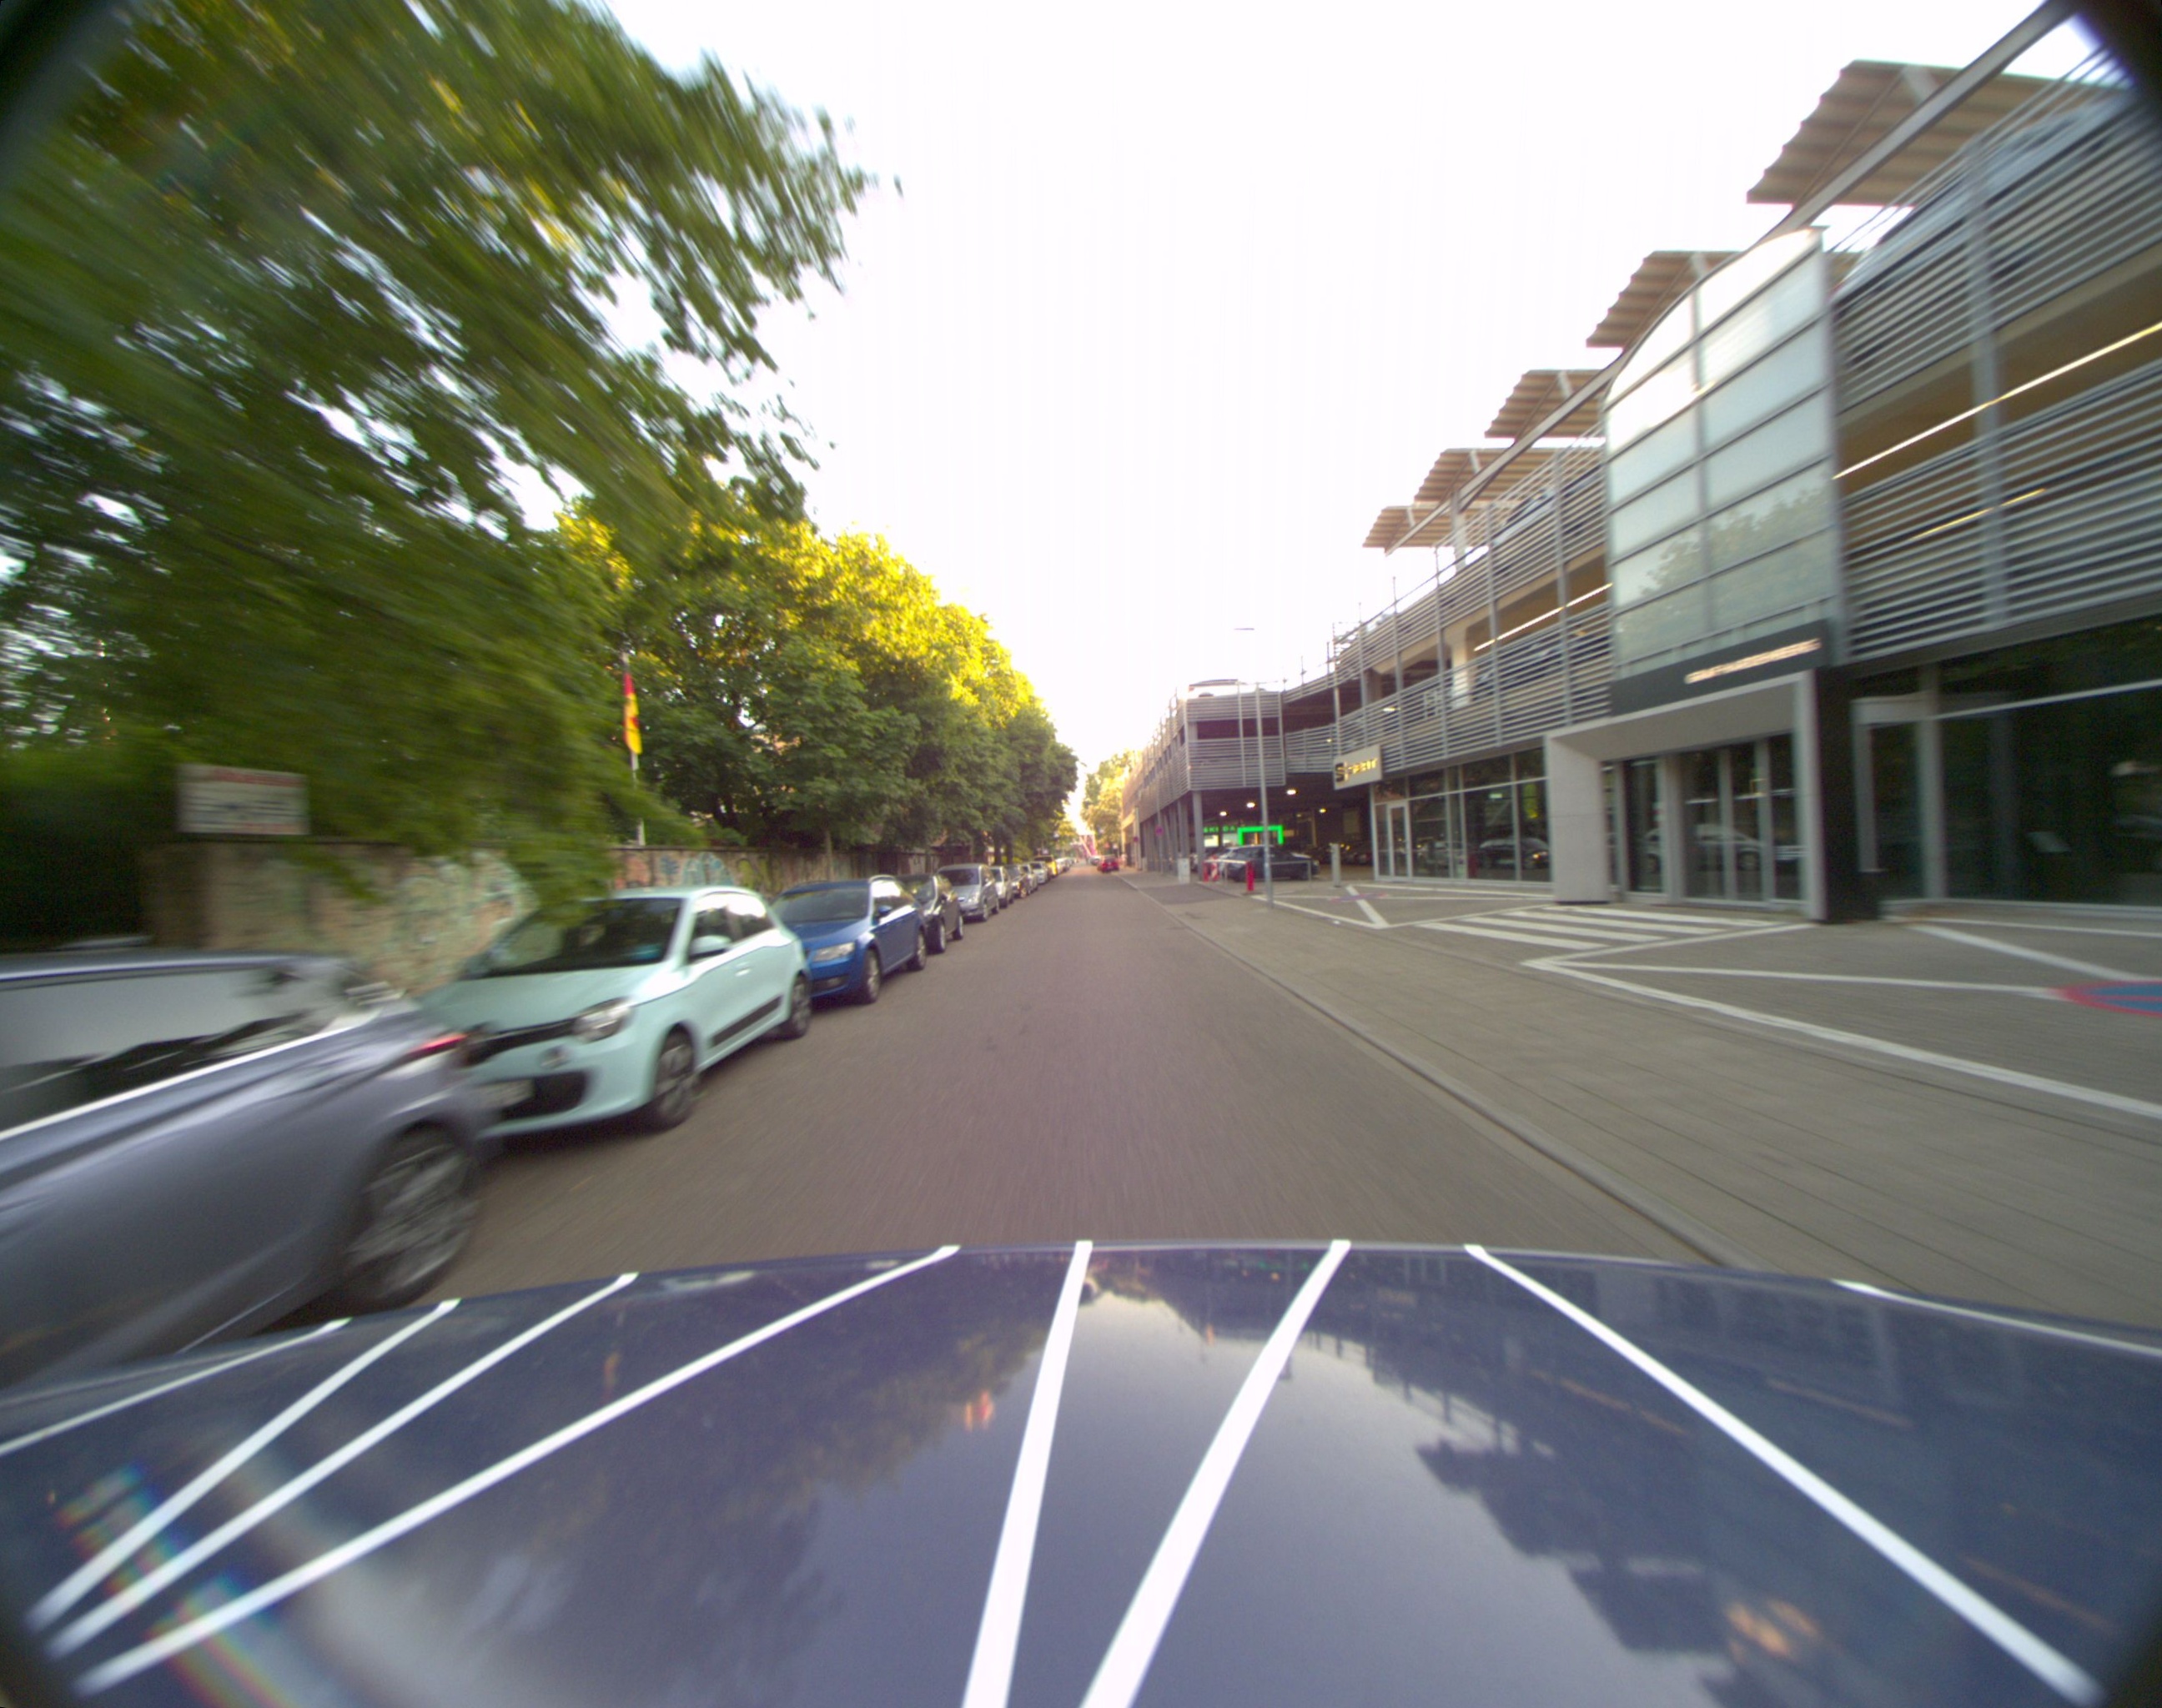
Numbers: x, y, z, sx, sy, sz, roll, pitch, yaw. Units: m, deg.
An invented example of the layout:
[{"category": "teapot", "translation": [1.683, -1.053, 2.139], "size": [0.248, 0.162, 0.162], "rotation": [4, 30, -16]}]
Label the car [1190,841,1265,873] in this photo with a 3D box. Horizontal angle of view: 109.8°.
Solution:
[{"category": "car", "translation": [8.702, 0.178, 45.367], "size": [4.113, 1.674, 1.860], "rotation": [-3, -1, 2]}]

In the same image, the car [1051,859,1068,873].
[{"category": "car", "translation": [-2.345, 1.329, 84.306], "size": [1.614, 1.452, 4.054], "rotation": [-3, -1, 0]}]

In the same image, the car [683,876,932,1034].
[{"category": "car", "translation": [-3.298, 1.125, 10.097], "size": [1.699, 1.468, 4.117], "rotation": [-3, 0, 0]}]

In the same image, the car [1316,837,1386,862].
[{"category": "car", "translation": [18.643, -0.310, 52.549], "size": [4.084, 1.446, 1.860], "rotation": [-3, -1, 2]}]

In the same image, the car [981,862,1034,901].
[{"category": "car", "translation": [-3.148, 1.128, 33.250], "size": [1.764, 1.446, 4.392], "rotation": [-3, 0, 0]}]

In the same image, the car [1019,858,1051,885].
[{"category": "car", "translation": [-2.884, 1.107, 48.389], "size": [1.726, 1.510, 4.026], "rotation": [-3, -1, 0]}]

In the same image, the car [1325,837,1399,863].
[{"category": "car", "translation": [18.640, -0.248, 50.552], "size": [4.216, 1.511, 1.860], "rotation": [-3, -1, 2]}]

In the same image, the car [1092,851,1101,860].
[{"category": "car", "translation": [3.803, 0.330, 187.230], "size": [1.964, 1.825, 3.884], "rotation": [-8, 0, -2]}]

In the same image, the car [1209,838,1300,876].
[{"category": "car", "translation": [8.732, 0.168, 38.510], "size": [4.097, 1.674, 1.860], "rotation": [-3, -1, 2]}]

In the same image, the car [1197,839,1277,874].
[{"category": "car", "translation": [8.773, 0.164, 42.971], "size": [4.074, 1.674, 1.860], "rotation": [-3, -1, 2]}]

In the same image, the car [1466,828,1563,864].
[{"category": "car", "translation": [23.633, -0.434, 41.550], "size": [4.158, 1.674, 1.860], "rotation": [-3, -1, 2]}]

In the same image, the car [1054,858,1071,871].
[{"category": "car", "translation": [-2.159, 1.244, 89.606], "size": [1.814, 1.408, 4.626], "rotation": [-3, -1, 0]}]

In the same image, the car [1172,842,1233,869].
[{"category": "car", "translation": [8.722, 0.142, 54.684], "size": [4.035, 1.674, 1.860], "rotation": [-3, -1, 2]}]

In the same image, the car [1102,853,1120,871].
[{"category": "car", "translation": [3.103, 0.818, 80.075], "size": [1.702, 1.745, 4.403], "rotation": [-3, -1, 0]}]

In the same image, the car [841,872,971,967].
[{"category": "car", "translation": [-3.304, 1.187, 15.054], "size": [1.601, 1.468, 3.773], "rotation": [-3, 0, 0]}]

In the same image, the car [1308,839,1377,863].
[{"category": "car", "translation": [18.972, -0.189, 55.319], "size": [4.347, 1.478, 1.860], "rotation": [-3, -1, 2]}]

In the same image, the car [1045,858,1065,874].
[{"category": "car", "translation": [-2.692, 1.219, 79.332], "size": [1.796, 1.553, 4.194], "rotation": [-3, -1, 0]}]

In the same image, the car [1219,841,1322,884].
[{"category": "car", "translation": [8.272, 0.344, 33.462], "size": [3.997, 1.577, 1.859], "rotation": [-3, 2, -1]}]

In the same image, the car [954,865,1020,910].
[{"category": "car", "translation": [-3.304, 1.153, 27.374], "size": [1.764, 1.433, 3.874], "rotation": [-3, -1, 0]}]

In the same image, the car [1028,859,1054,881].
[{"category": "car", "translation": [-2.804, 1.123, 53.557], "size": [1.567, 1.441, 3.454], "rotation": [-3, -1, 0]}]

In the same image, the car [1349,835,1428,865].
[{"category": "car", "translation": [18.703, -0.211, 46.307], "size": [3.996, 1.549, 1.860], "rotation": [-3, -1, 2]}]

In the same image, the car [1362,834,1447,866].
[{"category": "car", "translation": [18.671, -0.210, 43.991], "size": [4.045, 1.587, 1.860], "rotation": [-3, -1, 2]}]

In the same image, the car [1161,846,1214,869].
[{"category": "car", "translation": [8.676, 0.283, 62.256], "size": [4.045, 1.674, 1.860], "rotation": [-3, -1, 2]}]

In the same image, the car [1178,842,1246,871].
[{"category": "car", "translation": [8.627, 0.160, 50.243], "size": [4.113, 1.674, 1.860], "rotation": [-3, -1, 2]}]

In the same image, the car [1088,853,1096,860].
[{"category": "car", "translation": [3.287, 0.885, 223.450], "size": [1.786, 1.772, 4.012], "rotation": [-8, 0, -2]}]

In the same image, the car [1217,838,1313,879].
[{"category": "car", "translation": [8.670, 0.237, 36.083], "size": [4.089, 1.674, 1.860], "rotation": [-3, -1, 2]}]

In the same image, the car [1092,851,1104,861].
[{"category": "car", "translation": [3.092, 0.400, 140.767], "size": [1.786, 1.442, 3.884], "rotation": [-8, 0, -2]}]

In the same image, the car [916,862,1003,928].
[{"category": "car", "translation": [-3.410, 1.104, 21.991], "size": [1.764, 1.594, 3.873], "rotation": [-3, 0, 0]}]

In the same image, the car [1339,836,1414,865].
[{"category": "car", "translation": [18.759, -0.210, 48.378], "size": [3.996, 1.549, 1.860], "rotation": [-3, -1, 2]}]

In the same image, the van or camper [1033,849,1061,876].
[{"category": "van or camper", "translation": [-2.844, 0.764, 64.241], "size": [2.069, 2.083, 5.091], "rotation": [-3, -1, -1]}]

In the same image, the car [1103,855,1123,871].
[{"category": "car", "translation": [3.081, 0.893, 74.262], "size": [1.702, 1.497, 3.791], "rotation": [-3, -1, 0]}]

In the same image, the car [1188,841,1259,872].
[{"category": "car", "translation": [8.930, 0.152, 47.858], "size": [4.113, 1.674, 1.860], "rotation": [-3, -1, 2]}]

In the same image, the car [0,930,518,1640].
[{"category": "car", "translation": [-3.353, 1.122, 1.355], "size": [1.700, 1.468, 4.211], "rotation": [-3, 0, -4]}]

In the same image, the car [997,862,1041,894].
[{"category": "car", "translation": [-3.021, 1.185, 37.992], "size": [1.764, 1.433, 4.006], "rotation": [-3, -1, 0]}]

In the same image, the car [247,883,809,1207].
[{"category": "car", "translation": [-3.520, 1.061, 5.764], "size": [1.700, 1.468, 3.559], "rotation": [-3, 0, -3]}]

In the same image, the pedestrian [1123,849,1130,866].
[{"category": "pedestrian", "translation": [5.030, 0.360, 84.178], "size": [0.722, 1.867, 0.620], "rotation": [-3, 0, 2]}]
